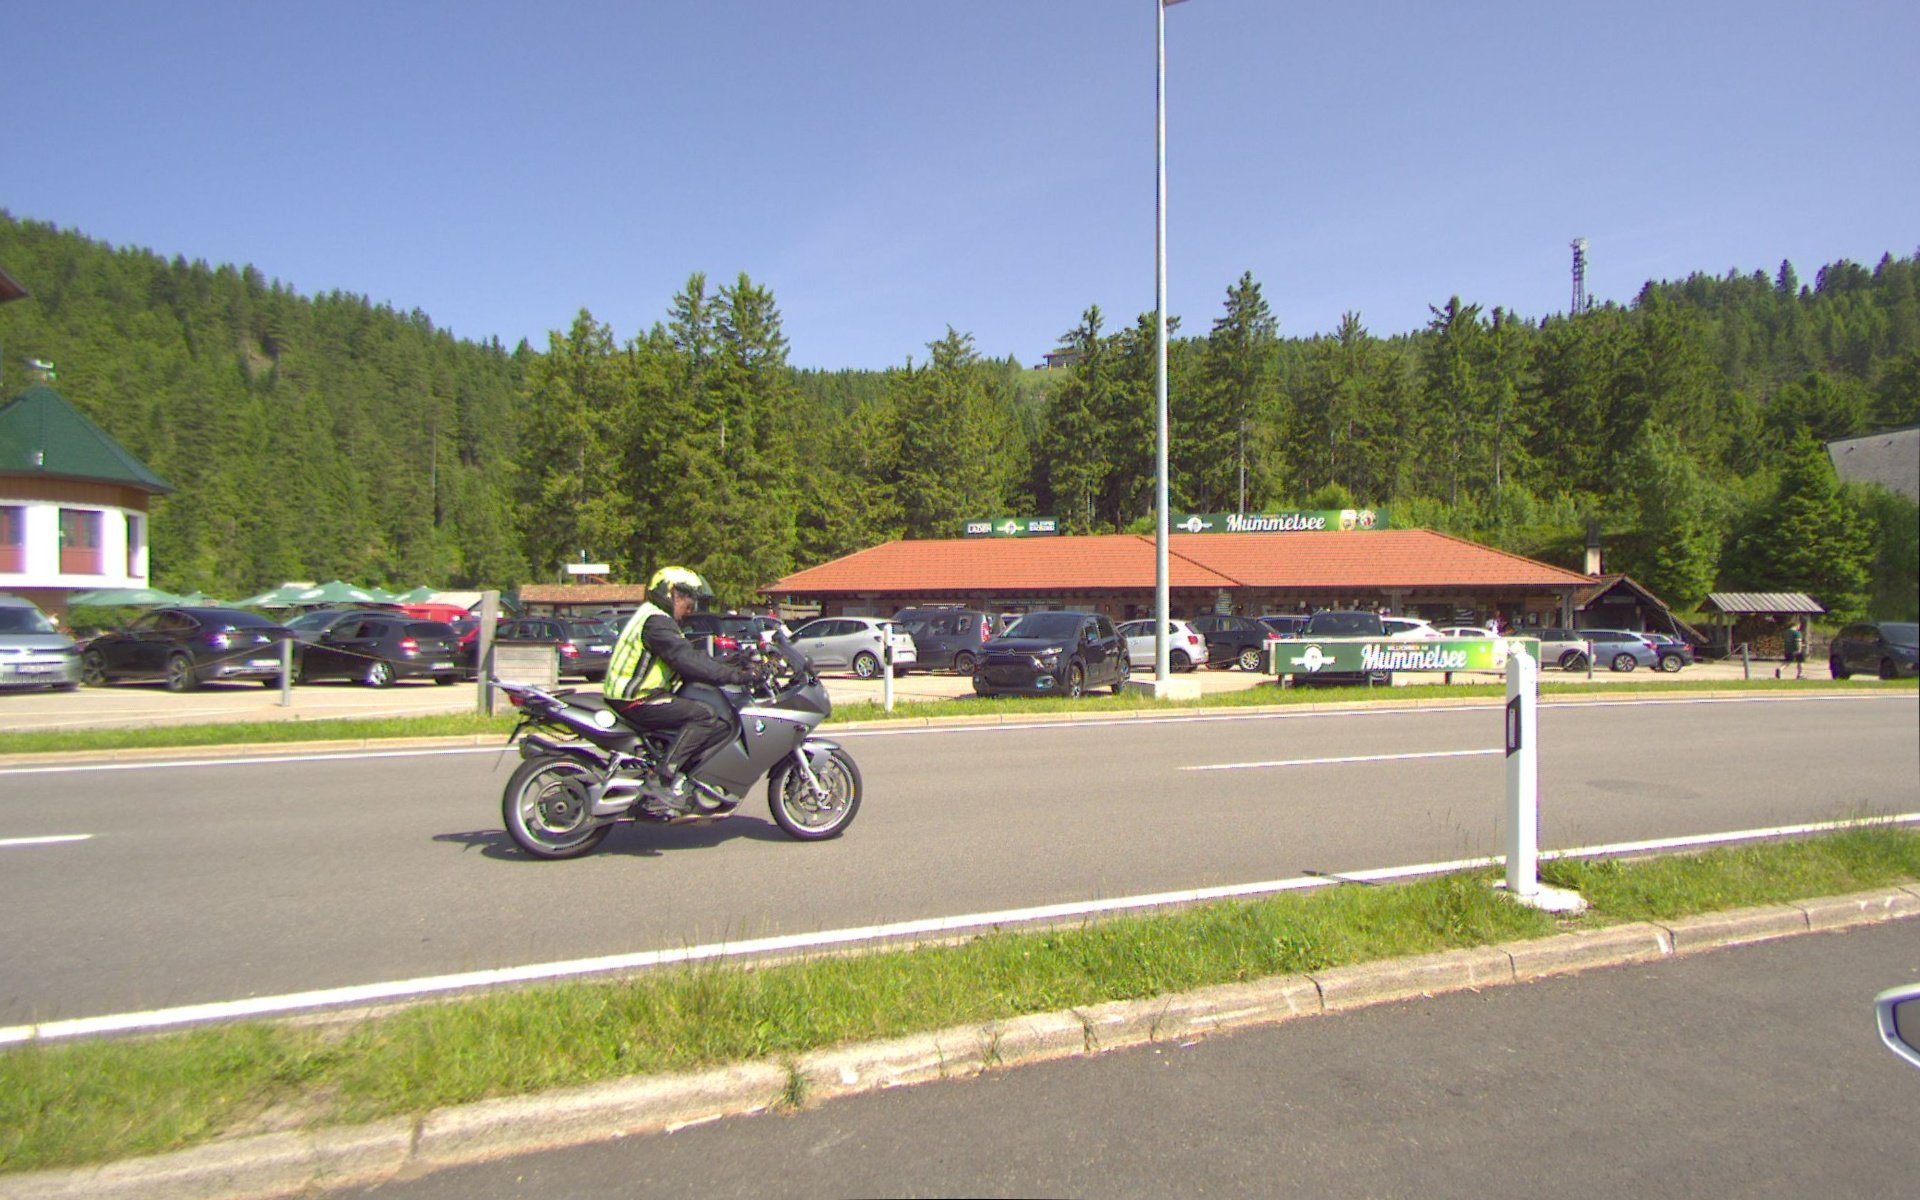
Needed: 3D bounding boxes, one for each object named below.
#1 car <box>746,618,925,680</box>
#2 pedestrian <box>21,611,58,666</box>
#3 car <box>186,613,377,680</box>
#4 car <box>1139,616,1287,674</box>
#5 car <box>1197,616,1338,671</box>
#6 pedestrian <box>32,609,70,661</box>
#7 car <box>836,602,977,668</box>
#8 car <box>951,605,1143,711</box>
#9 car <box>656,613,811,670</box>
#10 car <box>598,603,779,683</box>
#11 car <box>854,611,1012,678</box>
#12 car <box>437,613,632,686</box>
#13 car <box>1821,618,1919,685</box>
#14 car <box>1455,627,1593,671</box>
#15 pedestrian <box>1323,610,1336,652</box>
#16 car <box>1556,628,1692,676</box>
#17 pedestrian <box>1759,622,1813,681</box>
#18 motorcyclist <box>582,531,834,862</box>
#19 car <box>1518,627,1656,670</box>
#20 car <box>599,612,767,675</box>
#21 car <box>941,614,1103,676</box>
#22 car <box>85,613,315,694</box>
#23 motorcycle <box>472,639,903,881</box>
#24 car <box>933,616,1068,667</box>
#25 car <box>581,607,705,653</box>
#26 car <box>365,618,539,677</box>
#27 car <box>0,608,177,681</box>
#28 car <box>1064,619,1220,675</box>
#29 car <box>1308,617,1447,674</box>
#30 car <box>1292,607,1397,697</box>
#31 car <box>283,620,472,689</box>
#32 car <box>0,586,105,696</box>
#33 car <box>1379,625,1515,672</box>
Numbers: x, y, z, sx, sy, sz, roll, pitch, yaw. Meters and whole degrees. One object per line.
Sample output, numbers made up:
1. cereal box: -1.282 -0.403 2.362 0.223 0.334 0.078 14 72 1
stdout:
1. car: -3.000 1.151 24.205 3.924 1.389 1.811 -1 -1 24
2. pedestrian: -27.740 1.150 30.276 0.615 1.654 0.701 -1 -1 32
3. car: -16.298 1.085 24.154 3.922 1.502 1.935 -1 -2 22
4. car: 7.393 1.283 29.337 3.924 1.595 1.999 -1 -2 24
5. car: 9.508 1.315 31.025 3.924 1.595 1.999 -1 -2 24
6. pedestrian: -27.111 1.040 29.966 0.615 1.509 0.701 -1 -1 32
7. car: -1.651 1.078 31.225 3.922 1.929 2.000 -1 -1 22
8. car: 1.604 0.889 17.082 1.751 1.572 3.993 -1 -1 30
9. car: -6.525 1.181 29.024 3.922 1.572 2.000 -1 -2 22
10. car: -6.320 0.967 23.352 3.928 1.726 1.823 -1 -1 29
11. car: -0.695 1.104 25.717 3.662 1.609 1.734 -1 -1 24
12. car: -9.455 1.065 22.310 4.002 1.506 1.715 -1 -1 24
13. car: 25.347 1.363 27.083 1.754 1.655 4.212 1 -1 18
14. car: 19.026 1.654 34.070 3.925 1.438 1.684 -1 -3 25
15. pedestrian: 16.783 1.390 45.657 0.518 1.898 0.547 1 0 22
16. car: 24.276 1.876 36.900 3.925 1.639 1.998 -1 -1 26
17. pedestrian: 25.055 1.550 30.468 0.946 1.757 0.895 0 -1 -21
18. motorcyclist: -1.502 0.520 5.878 1.274 1.697 1.023 2 -1 -22
19. car: 21.937 1.709 35.317 3.925 1.438 1.684 -1 -3 25
20. car: -7.373 1.148 26.796 3.922 1.572 2.000 -1 -2 22
21. car: 1.655 1.188 26.966 3.925 1.565 1.898 -1 -1 25
22. car: -14.838 0.996 19.628 3.924 1.449 1.913 -1 -1 24
23. motorcycle: -1.534 0.844 5.831 2.253 1.192 0.820 2 -1 -23
24. car: 1.333 1.331 32.565 3.922 1.595 2.000 -1 -2 22
25. car: -11.102 1.041 35.200 3.806 1.550 1.910 -1 -1 22
26. car: -13.185 1.208 26.113 3.922 1.437 1.935 -1 -2 22
27. car: -19.723 0.964 22.331 3.922 1.502 1.935 -1 -2 22
28. car: 5.042 1.277 27.868 3.924 1.439 1.906 -1 -2 24
29. car: 13.183 1.437 31.833 3.953 1.694 1.776 -1 -2 23
30. car: 7.807 0.965 20.186 1.707 1.588 4.057 0 -1 25
31. car: -12.214 1.105 21.074 3.569 1.339 1.587 -1 -1 22
32. car: -18.238 0.752 18.788 4.446 1.888 1.833 -1 -1 27
33. car: 15.978 1.600 33.177 3.948 1.487 1.776 -1 -3 23
